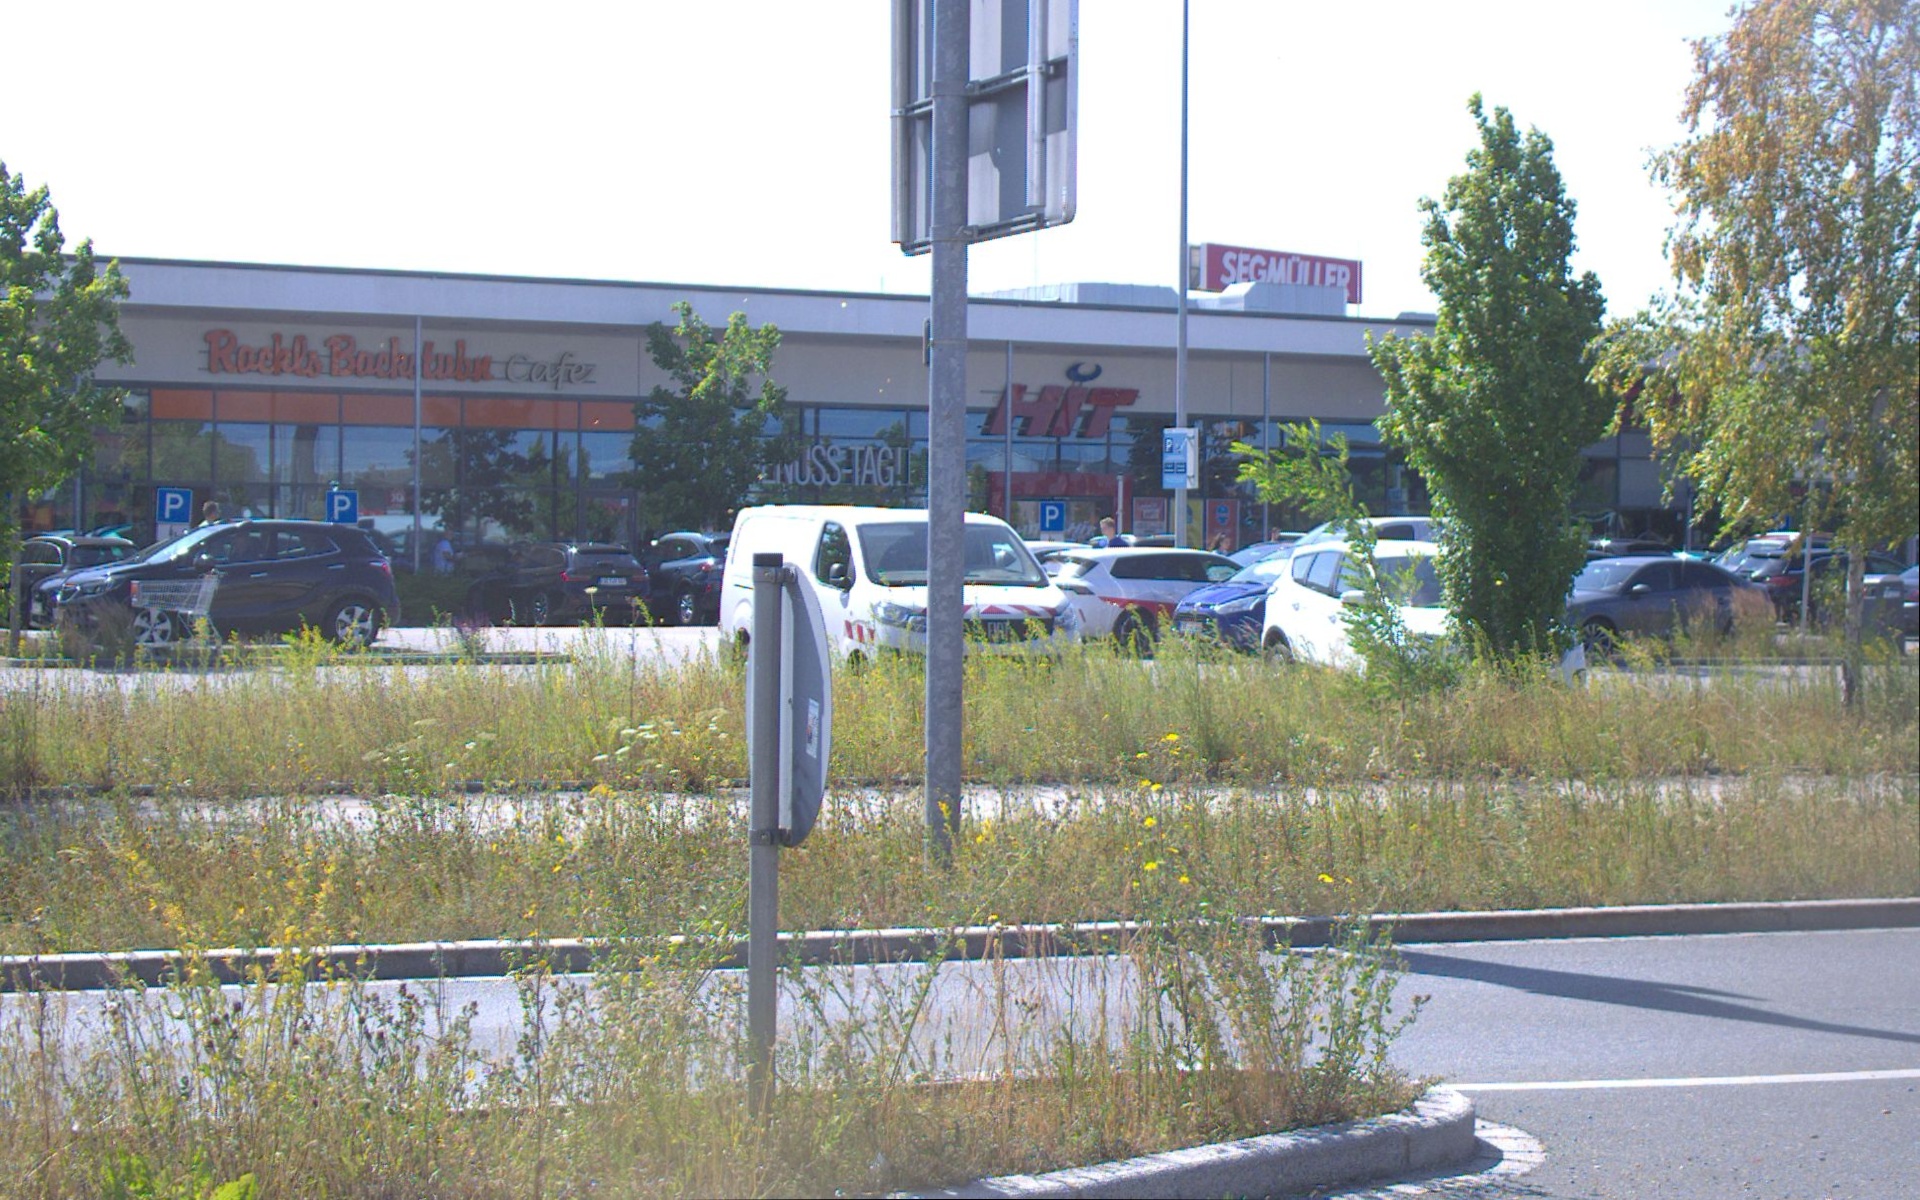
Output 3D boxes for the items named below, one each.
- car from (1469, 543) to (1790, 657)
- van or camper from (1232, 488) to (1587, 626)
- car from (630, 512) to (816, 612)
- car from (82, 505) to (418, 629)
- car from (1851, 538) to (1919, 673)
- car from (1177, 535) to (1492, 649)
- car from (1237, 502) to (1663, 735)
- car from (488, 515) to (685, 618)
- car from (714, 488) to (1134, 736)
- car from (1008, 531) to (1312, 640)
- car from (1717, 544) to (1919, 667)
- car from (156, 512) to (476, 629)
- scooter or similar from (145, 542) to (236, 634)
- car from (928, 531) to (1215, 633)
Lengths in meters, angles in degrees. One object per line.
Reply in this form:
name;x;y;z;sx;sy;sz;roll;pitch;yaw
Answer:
car;9.196;-0.001;47.211;3.986;1.503;1.875;1;1;-27
van or camper;6.815;-0.651;52.077;5.034;2.007;2.000;0;1;-26
car;-4.247;-0.692;61.068;1.993;1.701;4.001;0;2;-25
car;-8.906;-0.420;43.151;3.793;1.503;1.732;0;1;-28
car;17.229;0.103;57.546;4.470;2.184;2.000;1;1;-34
car;4.814;-0.118;44.149;3.719;1.386;1.732;0;1;-31
car;4.472;0.105;32.342;2.157;2.007;5.118;1;1;-14
car;-6.507;-0.604;59.596;1.993;1.701;4.001;0;2;-29
car;-0.448;0.041;30.600;2.080;2.007;5.230;0;1;-20
car;2.689;-0.207;46.012;3.719;1.386;1.732;0;1;-31
car;15.745;0.099;60.280;4.469;2.095;2.000;1;0;-24
car;-9.855;-0.444;52.620;4.470;1.700;1.875;1;0;-25
scooter or similar;-9.204;-0.150;41.123;0.943;1.076;0.652;0;1;-24
car;1.591;-0.270;48.855;3.719;1.386;1.732;0;1;-31
